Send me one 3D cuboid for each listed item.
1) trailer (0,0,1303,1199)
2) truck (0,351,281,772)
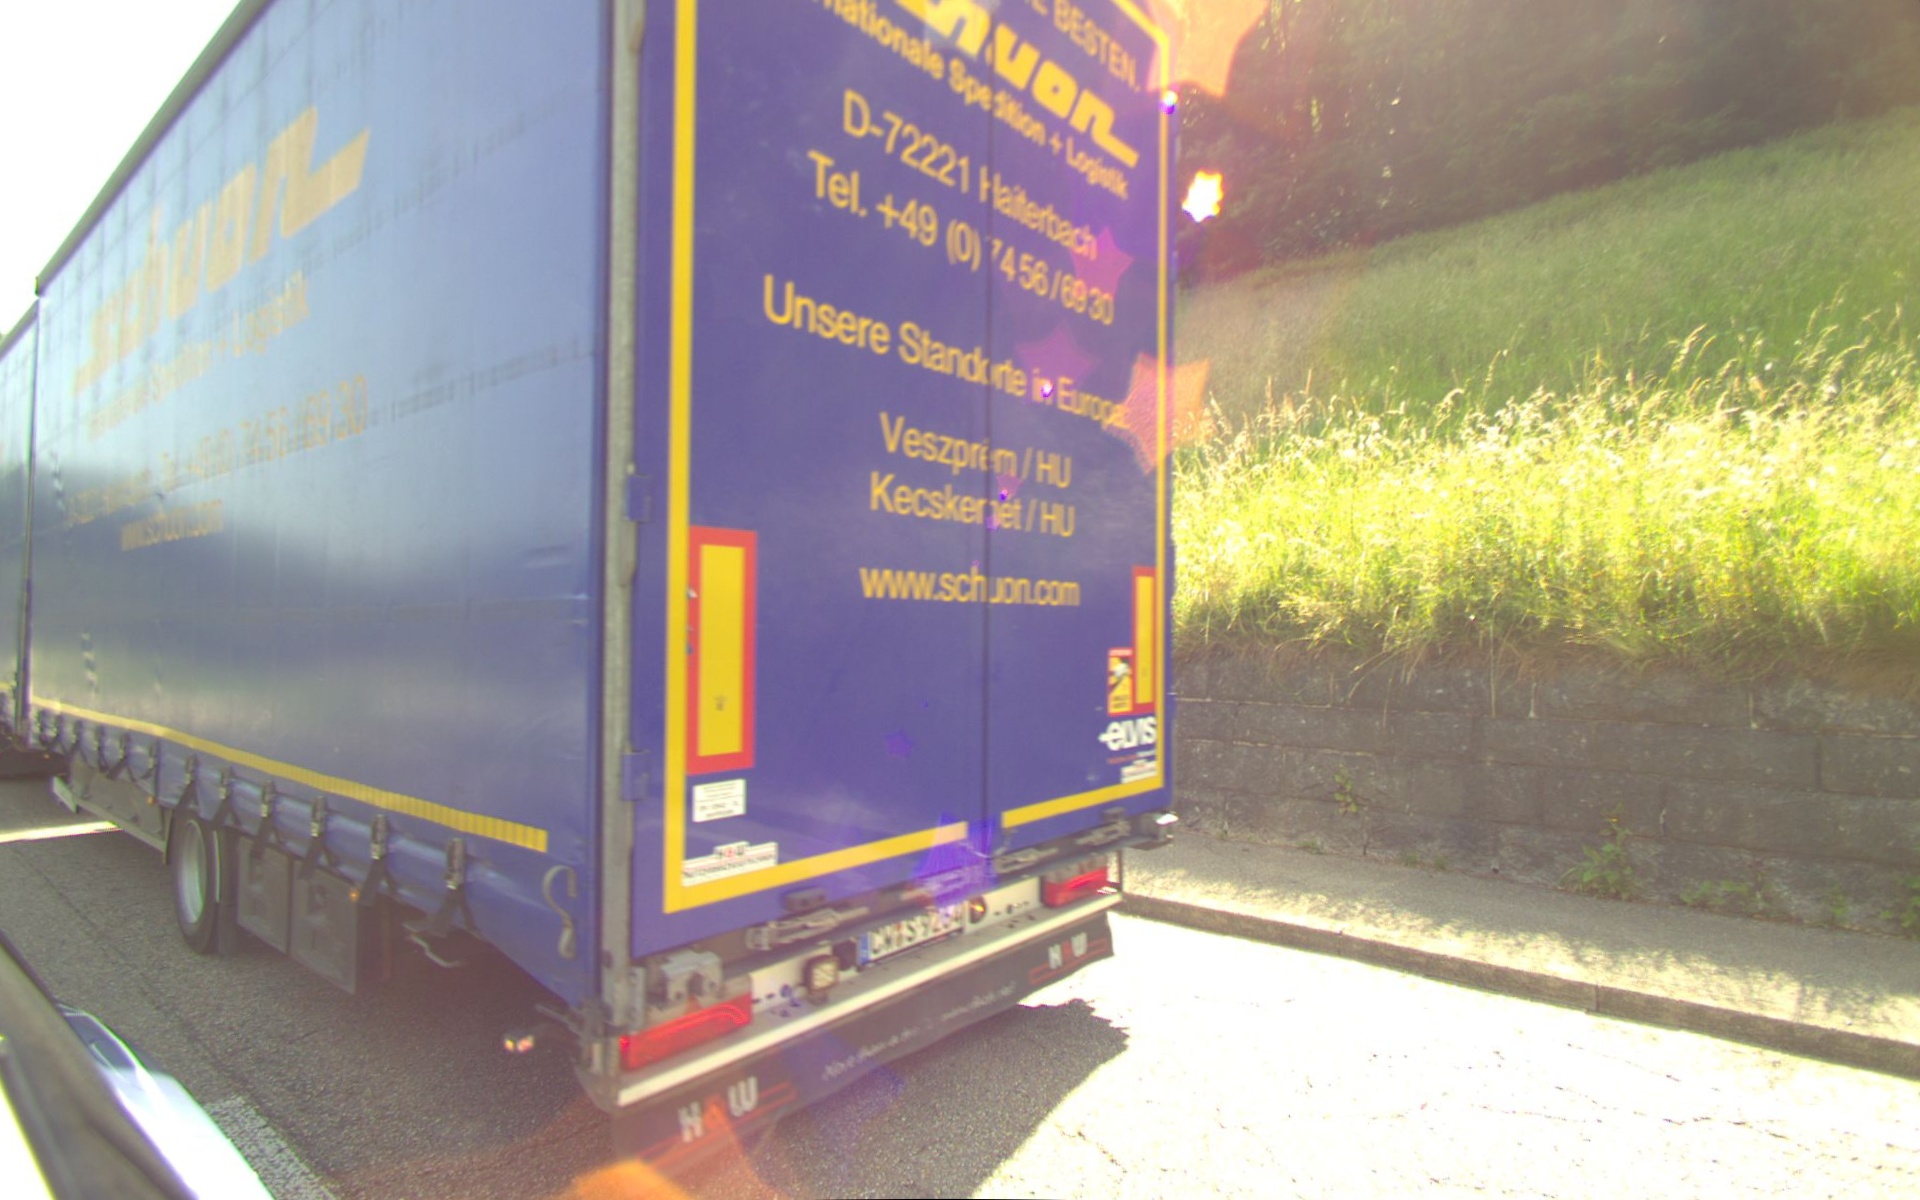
[{"bbox_3d":[-5.478,-0.576,8.021,15.302,4.451,3.227,-3,-2,40],"label":"trailer"},{"bbox_3d":[-11.971,-0.281,13.498,6.566,4.430,3.156,-3,-2,41],"label":"truck"}]
